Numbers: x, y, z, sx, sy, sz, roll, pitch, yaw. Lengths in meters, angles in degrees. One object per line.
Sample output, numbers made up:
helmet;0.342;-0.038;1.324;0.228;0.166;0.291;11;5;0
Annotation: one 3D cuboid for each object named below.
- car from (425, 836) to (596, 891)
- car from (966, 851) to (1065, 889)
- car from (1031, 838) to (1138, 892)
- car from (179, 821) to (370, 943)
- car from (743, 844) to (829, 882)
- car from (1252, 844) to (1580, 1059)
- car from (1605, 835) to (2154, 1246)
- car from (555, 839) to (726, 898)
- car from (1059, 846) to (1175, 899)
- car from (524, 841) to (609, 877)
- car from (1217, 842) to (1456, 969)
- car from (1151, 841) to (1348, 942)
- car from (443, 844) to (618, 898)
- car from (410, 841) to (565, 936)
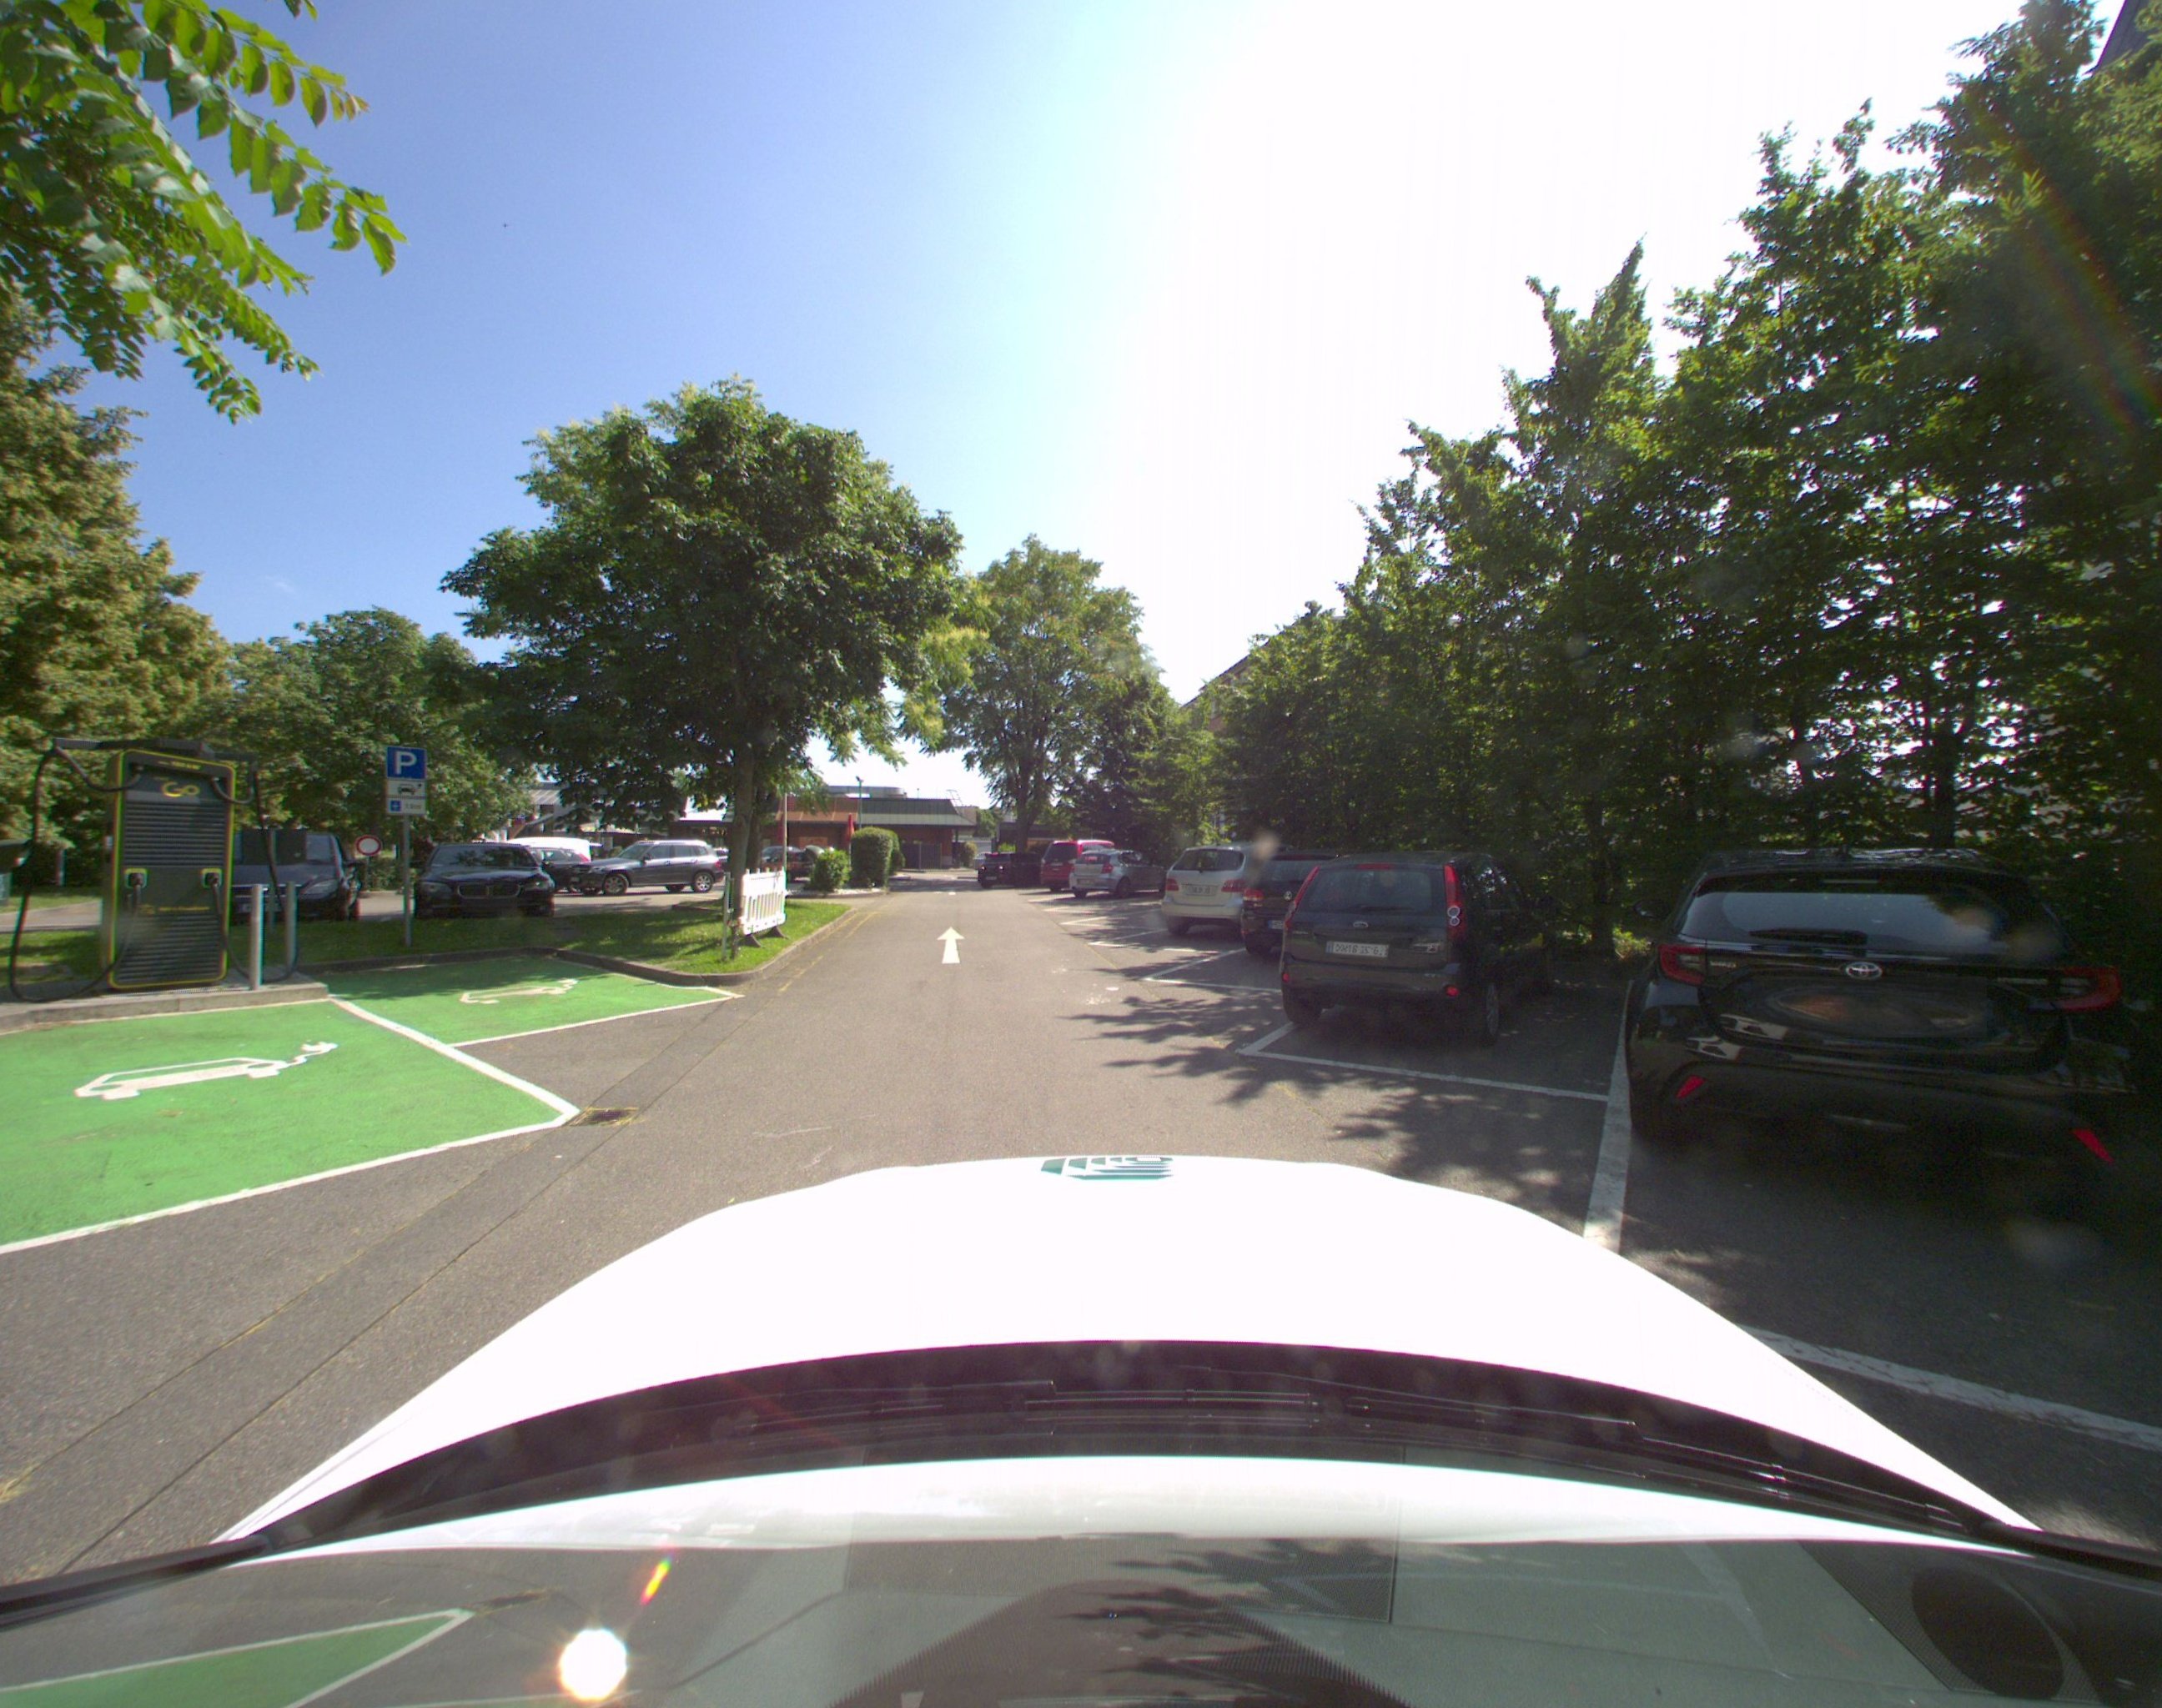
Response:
car;-19.052;0.295;27.388;1.838;1.686;4.340;1;0;35
car;-2.546;0.611;32.442;1.751;1.389;4.025;-1;-1;35
car;0.200;0.346;28.684;1.751;1.734;4.026;-2;-1;35
car;-13.063;0.400;13.461;1.872;1.686;4.316;3;-1;-41
car;-14.352;0.388;39.496;4.311;1.685;1.874;1;2;38
car;3.361;0.663;7.697;1.683;1.453;4.025;-1;0;40
car;4.385;0.640;4.976;1.639;1.470;3.929;-1;1;38
car;-13.807;0.415;25.769;1.838;1.686;4.395;1;0;34
car;1.206;0.517;25.312;1.751;1.475;4.026;-1;0;33
car;-23.902;0.195;37.786;4.089;1.552;1.933;1;0;35
car;3.842;0.607;11.828;1.752;1.470;4.025;-1;1;42
car;3.173;0.565;14.760;1.751;1.572;4.025;0;0;41
car;-16.884;0.487;25.142;1.838;1.491;4.065;1;0;34
car;-10.837;0.536;14.739;1.872;1.453;4.316;3;-1;-41
